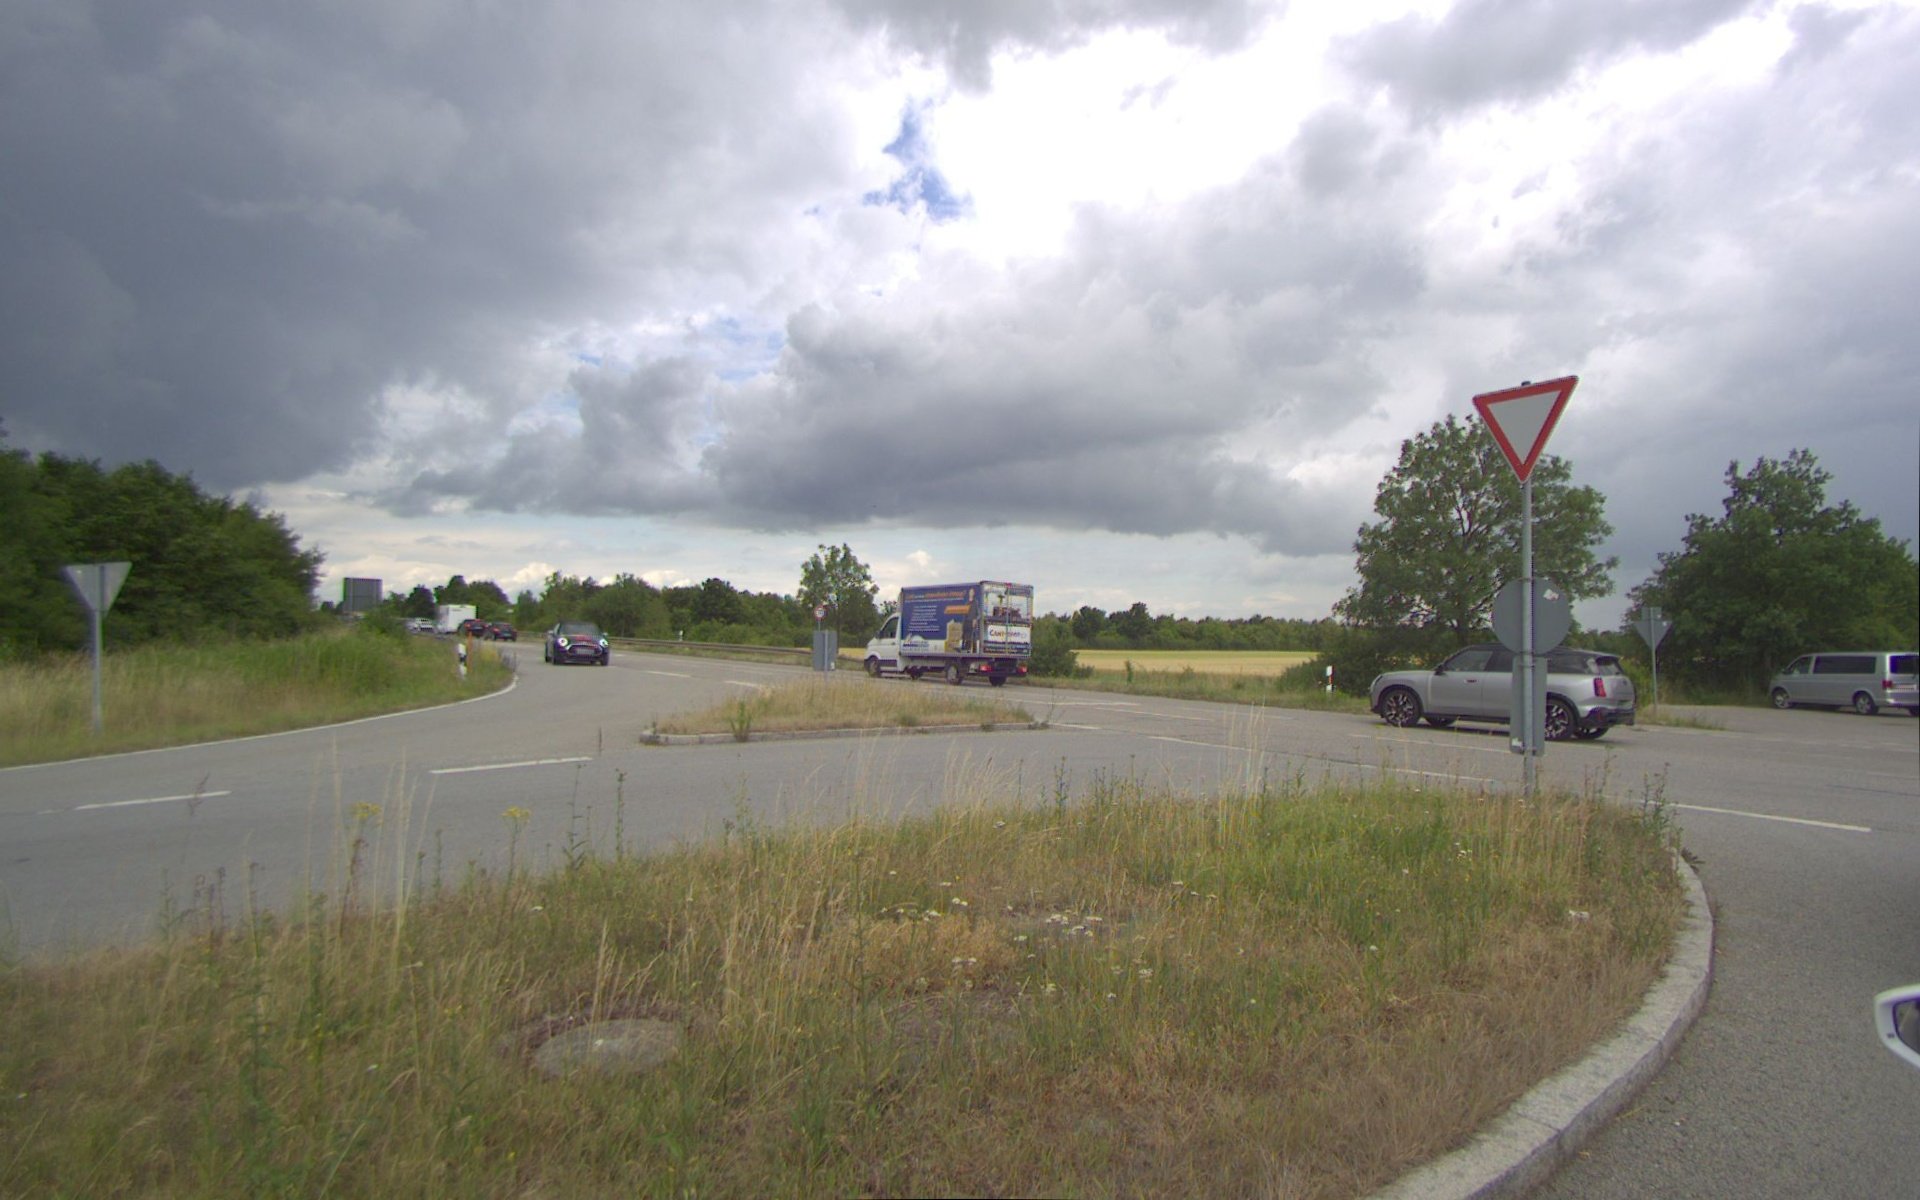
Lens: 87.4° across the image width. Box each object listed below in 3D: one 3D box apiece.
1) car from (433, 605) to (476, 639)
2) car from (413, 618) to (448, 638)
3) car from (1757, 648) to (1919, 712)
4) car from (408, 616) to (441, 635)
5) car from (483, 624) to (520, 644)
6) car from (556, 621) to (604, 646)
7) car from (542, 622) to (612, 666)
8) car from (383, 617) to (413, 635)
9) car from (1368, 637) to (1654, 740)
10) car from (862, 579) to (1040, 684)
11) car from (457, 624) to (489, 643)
[{"bbox_3d":[-47.627,2.103,94.531,2.321,3.069,6.486,2,-3,-38],"label":"car"},{"bbox_3d":[-53.442,2.862,101.338,2.320,1.947,4.823,2,-3,-38],"label":"car"},{"bbox_3d":[29.240,2.552,33.078,2.070,1.910,5.104,0,-3,3],"label":"car"},{"bbox_3d":[-57.251,2.696,107.313,2.321,1.947,4.822,2,-3,-38],"label":"car"},{"bbox_3d":[-36.582,2.740,80.150,1.832,1.545,3.957,2,-3,-38],"label":"car"},{"bbox_3d":[-24.720,2.202,65.287,1.832,1.545,3.958,2,-3,-37],"label":"car"},{"bbox_3d":[-12.857,1.450,33.569,1.654,1.370,4.138,0,-2,-29],"label":"car"},{"bbox_3d":[-64.007,2.998,114.388,2.320,1.947,4.823,2,-3,-38],"label":"car"},{"bbox_3d":[10.027,1.569,18.536,1.984,1.644,4.213,6,-5,-39],"label":"car"},{"bbox_3d":[-0.447,1.075,33.005,2.321,3.068,6.488,5,-5,-37],"label":"car"},{"bbox_3d":[-42.235,2.904,87.091,1.831,1.545,3.959,2,-3,-37],"label":"car"}]
